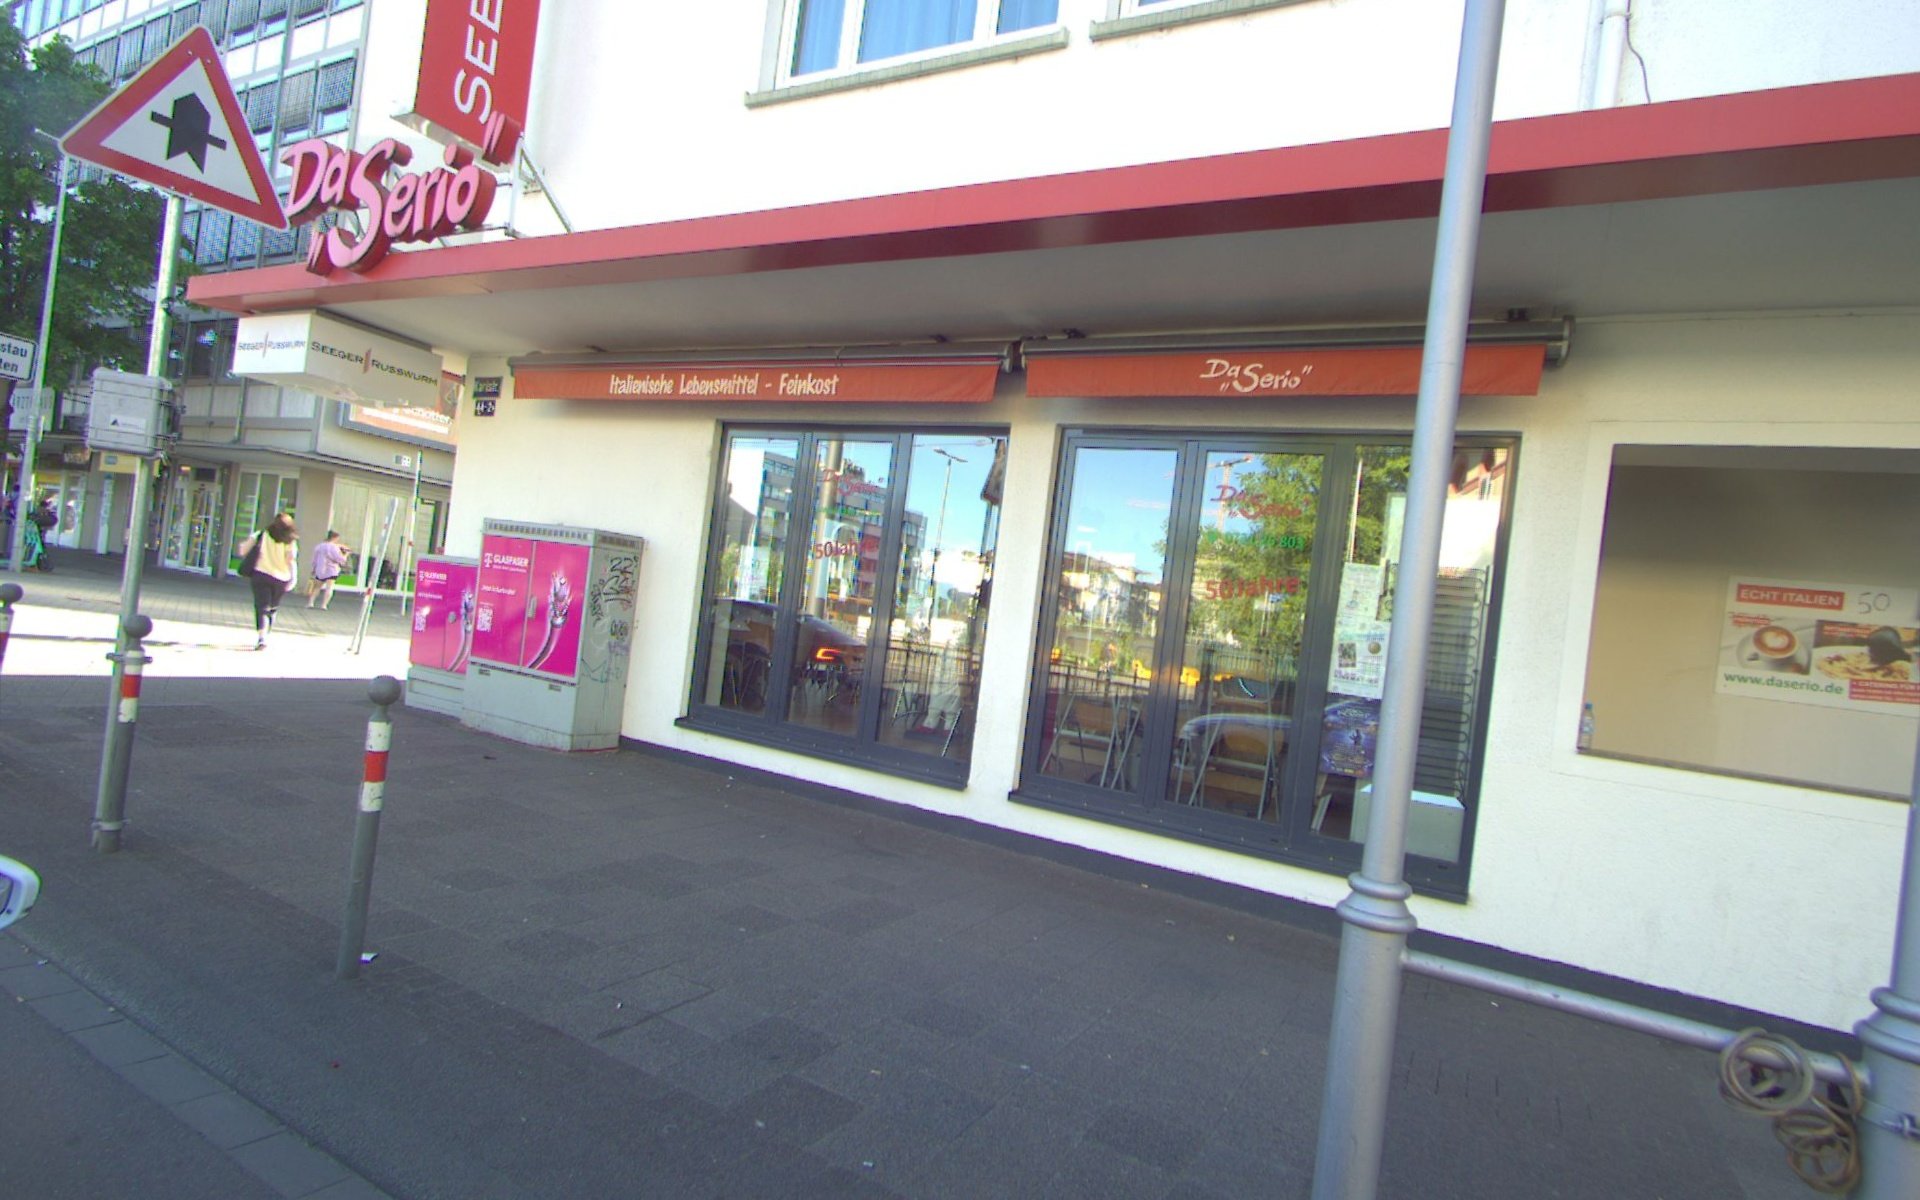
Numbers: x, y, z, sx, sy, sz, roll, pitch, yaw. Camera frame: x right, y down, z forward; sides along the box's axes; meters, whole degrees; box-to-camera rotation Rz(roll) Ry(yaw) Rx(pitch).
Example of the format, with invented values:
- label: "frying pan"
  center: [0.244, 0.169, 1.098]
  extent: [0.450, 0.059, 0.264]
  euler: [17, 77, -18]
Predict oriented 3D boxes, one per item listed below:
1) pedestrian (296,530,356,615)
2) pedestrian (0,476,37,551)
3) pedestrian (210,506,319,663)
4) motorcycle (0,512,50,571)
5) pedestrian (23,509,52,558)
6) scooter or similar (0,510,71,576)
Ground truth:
- label: "pedestrian"
  center: [-13.601, -0.591, 21.565]
  extent: [0.884, 1.687, 0.801]
  euler: [8, -1, -35]
- label: "pedestrian"
  center: [-27.242, -2.495, 28.965]
  extent: [0.570, 2.037, 0.663]
  euler: [6, -1, 34]
- label: "pedestrian"
  center: [-8.598, -0.189, 12.459]
  extent: [0.909, 1.773, 1.029]
  euler: [7, 0, -35]
- label: "motorcycle"
  center: [-21.533, -1.378, 22.383]
  extent: [0.532, 1.186, 1.711]
  euler: [7, -2, 30]
- label: "pedestrian"
  center: [-26.899, -1.931, 29.342]
  extent: [0.504, 1.359, 0.390]
  euler: [6, -1, 34]
- label: "scooter or similar"
  center: [-19.945, -1.232, 21.181]
  extent: [1.628, 1.229, 0.640]
  euler: [8, -1, -29]
